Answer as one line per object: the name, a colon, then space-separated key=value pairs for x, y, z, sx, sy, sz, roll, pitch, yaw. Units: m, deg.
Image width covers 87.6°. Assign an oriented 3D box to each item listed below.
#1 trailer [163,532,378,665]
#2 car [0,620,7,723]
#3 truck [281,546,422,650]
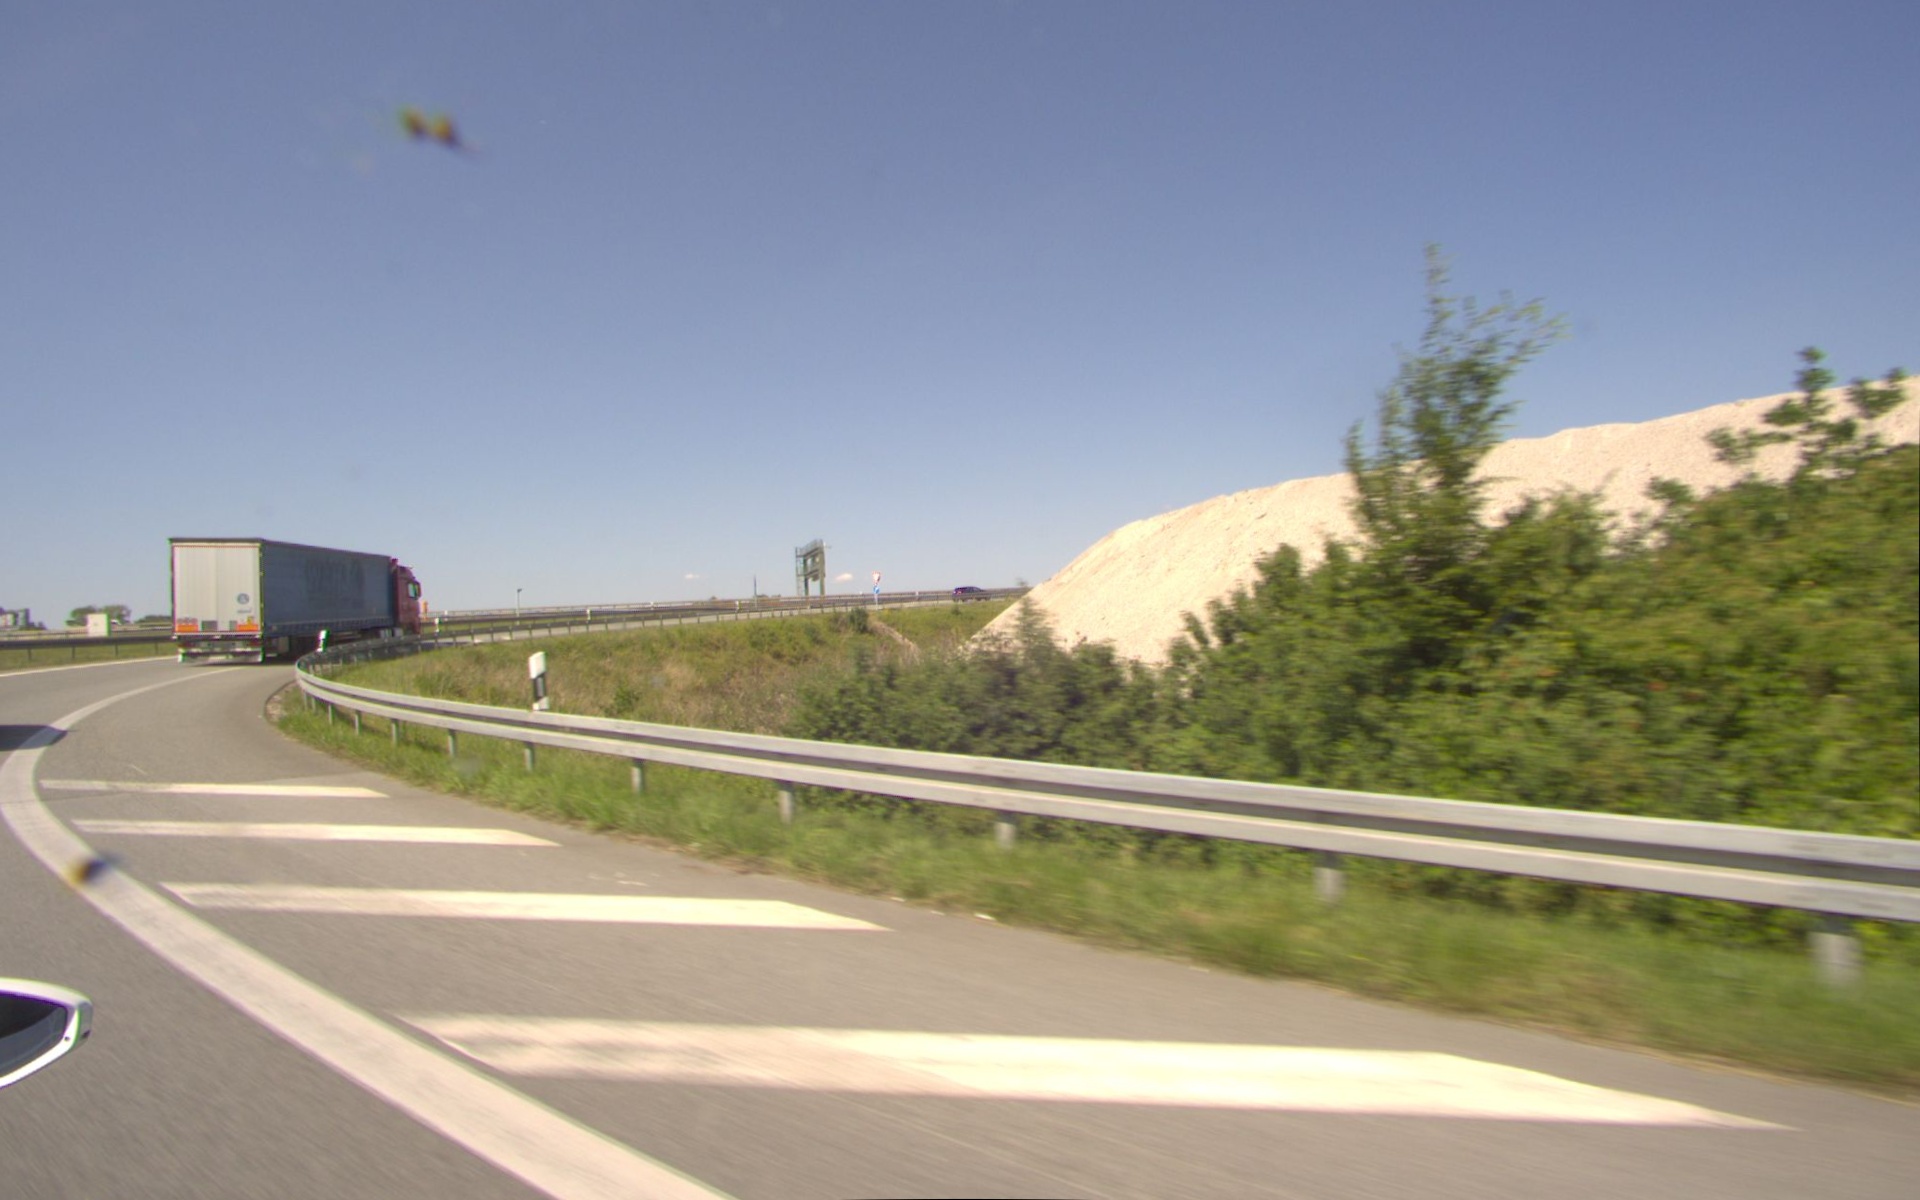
trailer: x=-25.050 y=-0.049 z=37.300 sx=2.869 sy=4.200 sz=11.240 roll=-1 pitch=0 yaw=-15
car: x=-13.918 y=1.020 z=13.124 sx=1.840 sy=1.462 sz=4.333 roll=0 pitch=-1 yaw=-41
truck: x=-26.524 y=-0.089 z=44.094 sx=2.867 sy=4.200 sz=6.920 roll=-1 pitch=0 yaw=-10
